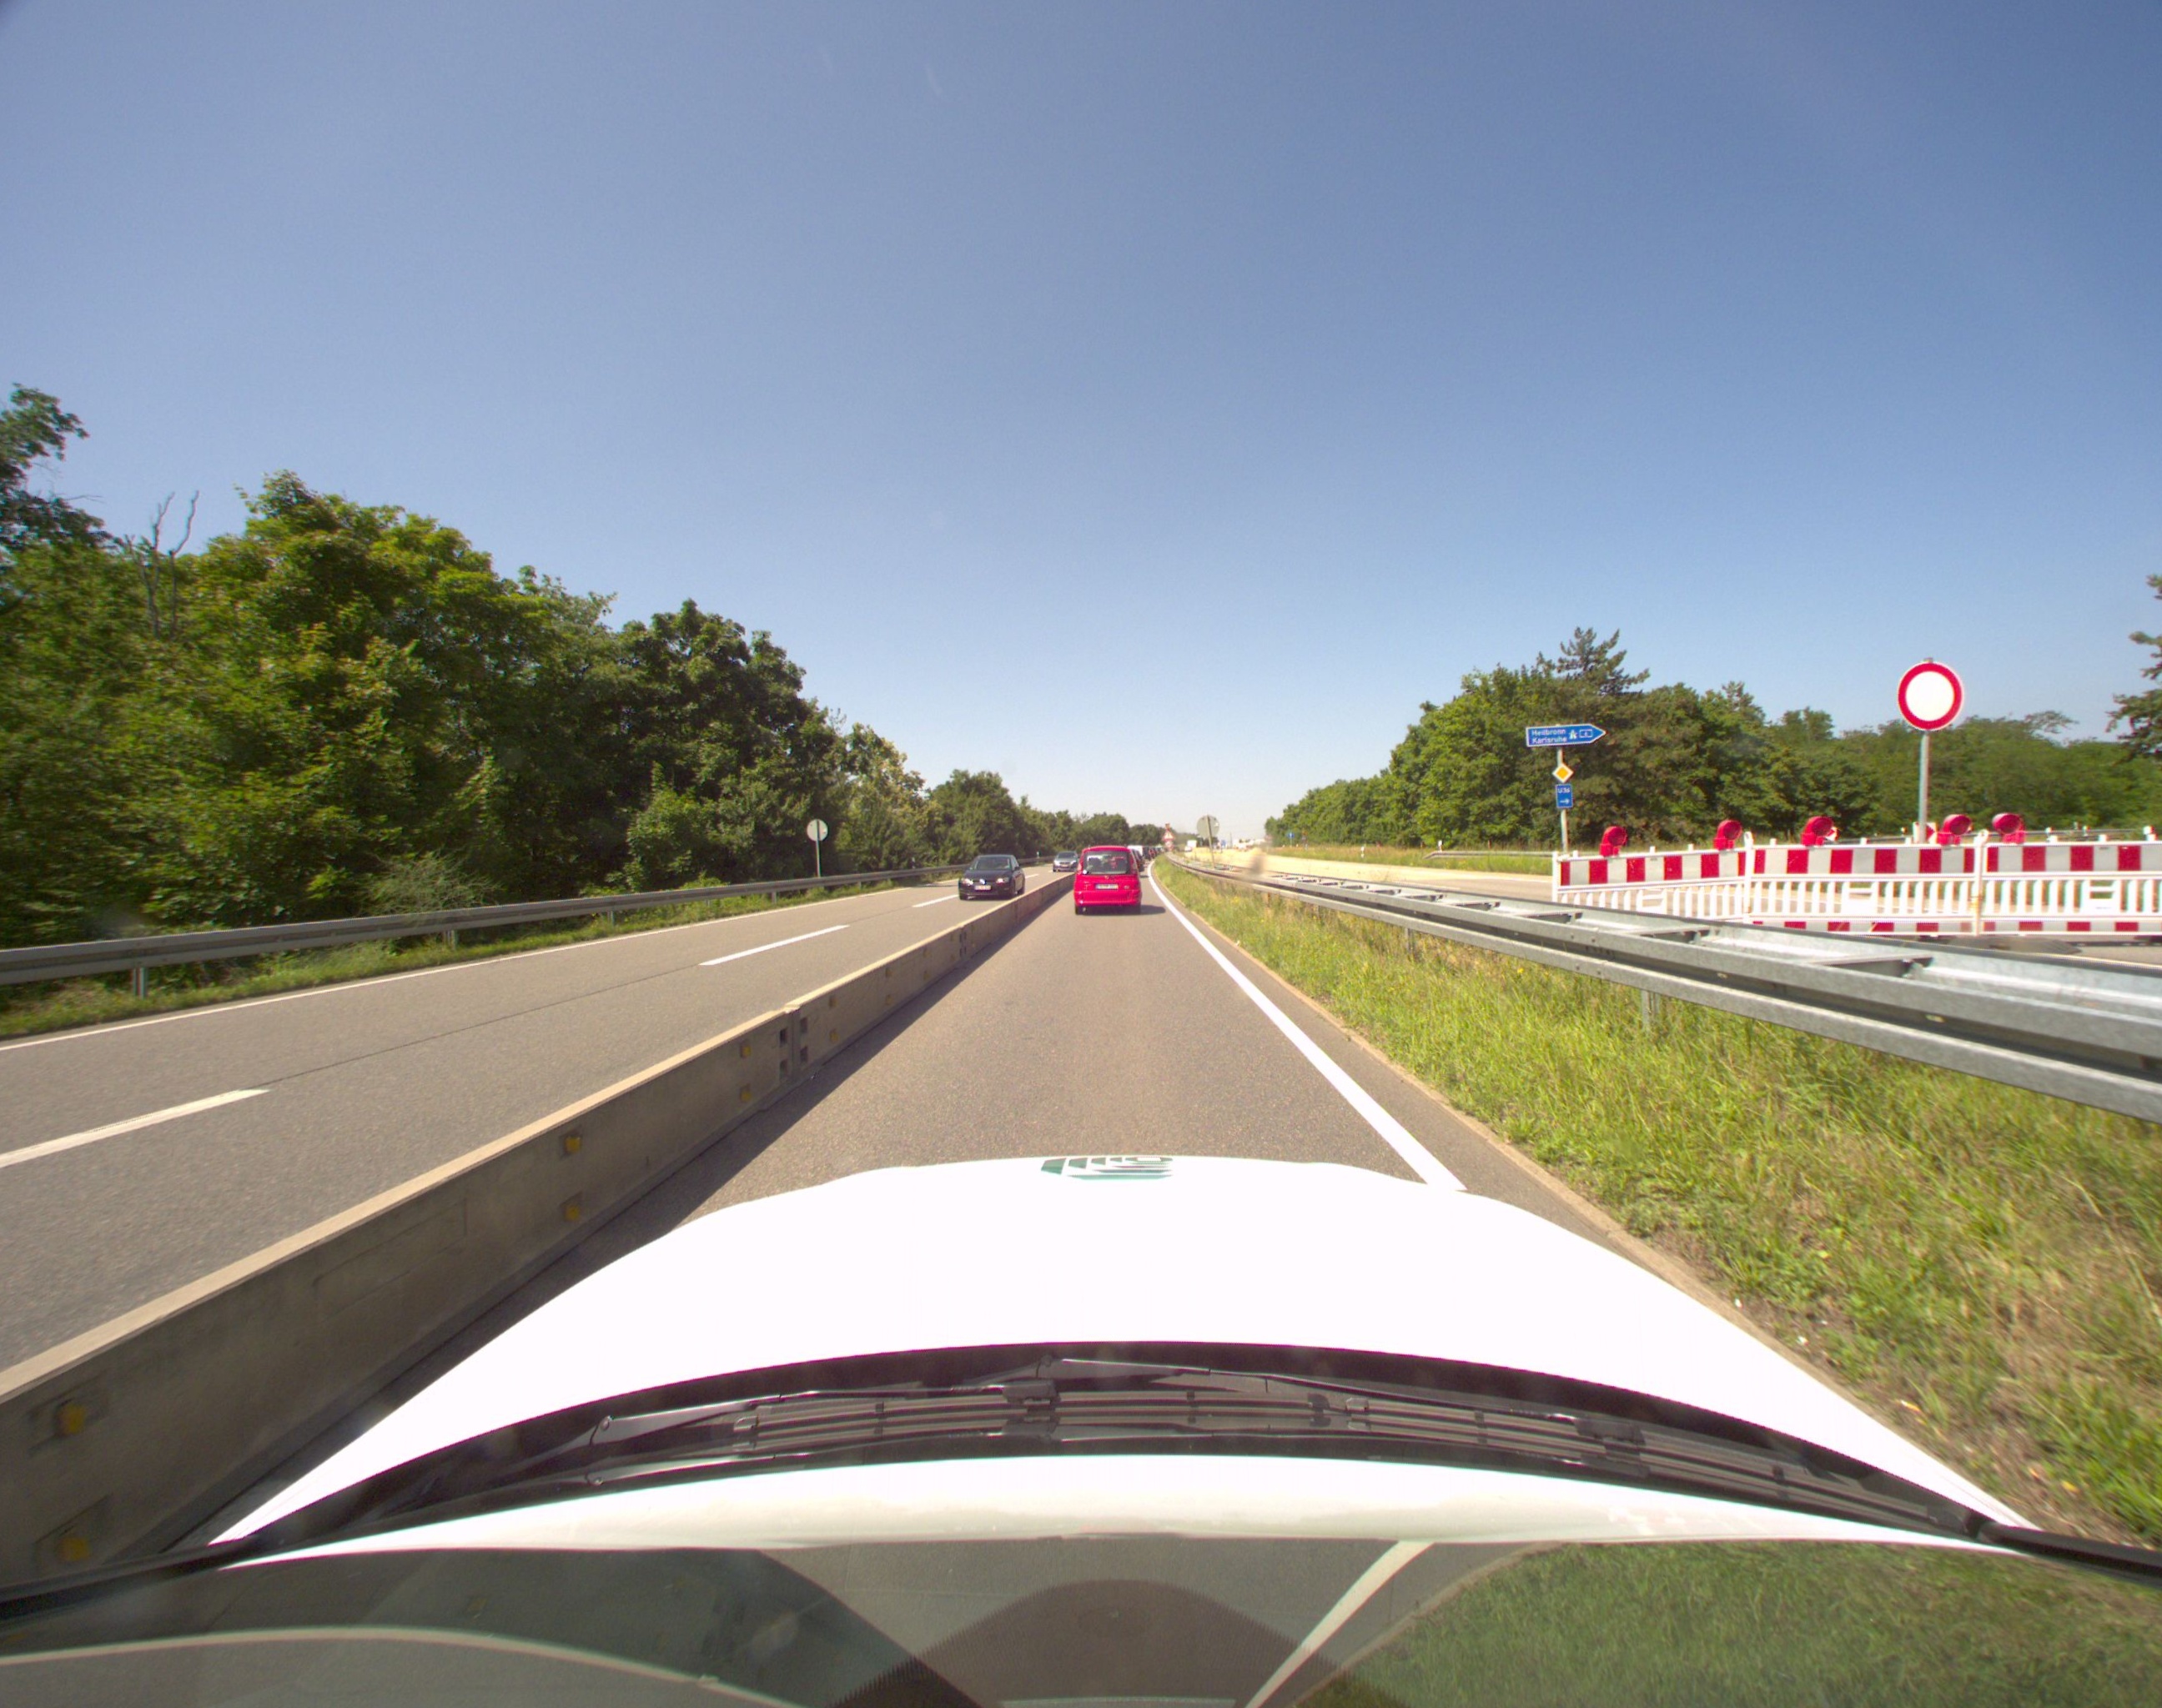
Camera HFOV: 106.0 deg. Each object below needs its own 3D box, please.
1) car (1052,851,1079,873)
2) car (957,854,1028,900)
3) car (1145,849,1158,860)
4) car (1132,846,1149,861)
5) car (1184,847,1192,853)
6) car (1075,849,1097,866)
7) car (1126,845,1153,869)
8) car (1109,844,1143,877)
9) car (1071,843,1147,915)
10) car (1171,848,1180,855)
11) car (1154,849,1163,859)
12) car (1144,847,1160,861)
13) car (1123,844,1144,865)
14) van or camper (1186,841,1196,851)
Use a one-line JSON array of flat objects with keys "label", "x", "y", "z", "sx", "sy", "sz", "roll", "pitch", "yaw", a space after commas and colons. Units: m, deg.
[{"label": "car", "x": -1.112, "y": 0.566, "z": 59.411, "sx": 1.718, "sy": 1.496, "sz": 4.390, "roll": -1, "pitch": 0, "yaw": 1}, {"label": "car", "x": -2.918, "y": 0.722, "z": 27.682, "sx": 1.809, "sy": 1.424, "sz": 4.110, "roll": -1, "pitch": 0, "yaw": 2}, {"label": "car", "x": 10.990, "y": 0.090, "z": 126.747, "sx": 1.984, "sy": 1.585, "sz": 4.005, "roll": -1, "pitch": 0, "yaw": 4}, {"label": "car", "x": 7.146, "y": -0.058, "z": 98.330, "sx": 1.985, "sy": 1.750, "sz": 4.004, "roll": -2, "pitch": 0, "yaw": 3}, {"label": "car", "x": 29.253, "y": -1.058, "z": 221.988, "sx": 1.984, "sy": 1.486, "sz": 4.006, "roll": -2, "pitch": 0, "yaw": 5}, {"label": "car", "x": 0.540, "y": 0.346, "z": 80.848, "sx": 1.940, "sy": 1.538, "sz": 4.440, "roll": -2, "pitch": 0, "yaw": 3}, {"label": "car", "x": 4.914, "y": 0.248, "z": 68.603, "sx": 1.986, "sy": 1.838, "sz": 4.001, "roll": -2, "pitch": 0, "yaw": 1}, {"label": "car", "x": 2.489, "y": 0.357, "z": 45.865, "sx": 1.823, "sy": 1.722, "sz": 4.002, "roll": -2, "pitch": 0, "yaw": 2}, {"label": "car", "x": 0.737, "y": 0.581, "z": 21.179, "sx": 1.745, "sy": 1.673, "sz": 4.002, "roll": -1, "pitch": 0, "yaw": 2}, {"label": "car", "x": 21.807, "y": -0.546, "z": 188.331, "sx": 1.983, "sy": 1.552, "sz": 4.007, "roll": -1, "pitch": 0, "yaw": 6}, {"label": "car", "x": 13.155, "y": -0.049, "z": 138.184, "sx": 1.494, "sy": 1.736, "sz": 3.176, "roll": -1, "pitch": 0, "yaw": 7}, {"label": "car", "x": 9.773, "y": 0.033, "z": 112.261, "sx": 1.986, "sy": 1.783, "sz": 4.002, "roll": -2, "pitch": 0, "yaw": 2}, {"label": "car", "x": 5.272, "y": 0.001, "z": 81.172, "sx": 1.985, "sy": 2.003, "sz": 4.004, "roll": -2, "pitch": 0, "yaw": 4}, {"label": "van or camper", "x": 31.629, "y": -2.296, "z": 233.984, "sx": 2.317, "sy": 2.706, "sz": 4.599, "roll": -2, "pitch": 0, "yaw": 4}]
